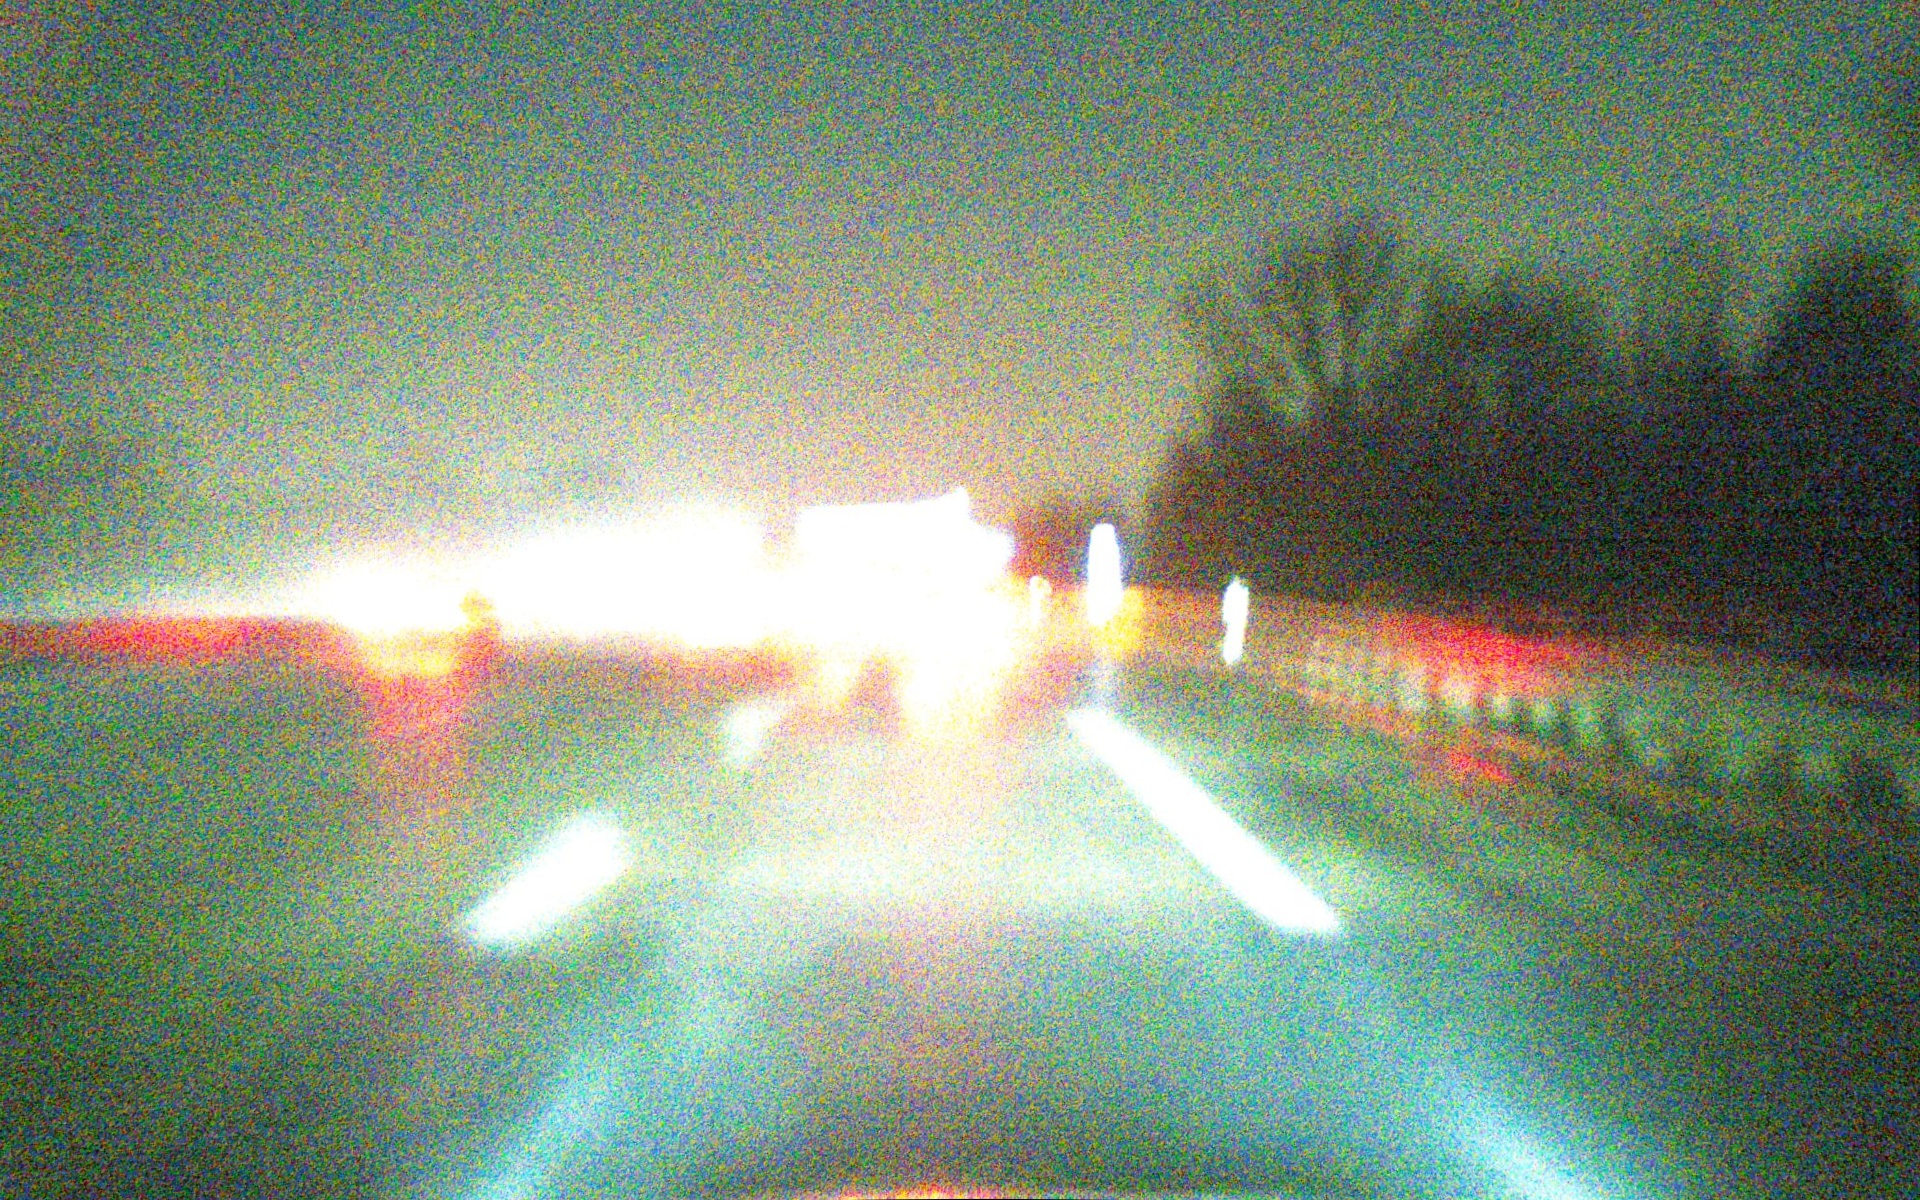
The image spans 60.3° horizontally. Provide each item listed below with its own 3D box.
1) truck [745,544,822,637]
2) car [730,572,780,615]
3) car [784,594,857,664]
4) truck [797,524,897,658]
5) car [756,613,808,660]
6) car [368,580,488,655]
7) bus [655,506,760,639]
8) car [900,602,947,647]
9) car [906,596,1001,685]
[{"bbox_3d":[-11.569,-0.531,109.661,4.125,5.747,11.463,1,-1,-2],"label":"truck"},{"bbox_3d":[-9.130,-0.276,73.796,1.954,1.839,3.996,1,-1,-4],"label":"car"},{"bbox_3d":[-4.269,0.878,51.252,2.084,2.049,4.642,1,-1,-3],"label":"car"},{"bbox_3d":[-5.114,-0.342,77.390,4.125,5.747,11.463,1,-1,-2],"label":"truck"},{"bbox_3d":[-7.293,1.469,68.231,1.954,1.839,3.996,1,-1,-4],"label":"car"},{"bbox_3d":[-12.422,0.403,38.849,1.956,1.624,3.993,1,-1,-8],"label":"car"},{"bbox_3d":[-9.465,-0.923,63.086,3.036,4.587,10.902,1,-1,-4],"label":"bus"},{"bbox_3d":[-1.776,1.161,79.469,2.084,2.049,4.642,1,-1,-3],"label":"car"},{"bbox_3d":[-0.170,0.866,36.792,1.953,1.839,3.999,1,-1,-1],"label":"car"}]
